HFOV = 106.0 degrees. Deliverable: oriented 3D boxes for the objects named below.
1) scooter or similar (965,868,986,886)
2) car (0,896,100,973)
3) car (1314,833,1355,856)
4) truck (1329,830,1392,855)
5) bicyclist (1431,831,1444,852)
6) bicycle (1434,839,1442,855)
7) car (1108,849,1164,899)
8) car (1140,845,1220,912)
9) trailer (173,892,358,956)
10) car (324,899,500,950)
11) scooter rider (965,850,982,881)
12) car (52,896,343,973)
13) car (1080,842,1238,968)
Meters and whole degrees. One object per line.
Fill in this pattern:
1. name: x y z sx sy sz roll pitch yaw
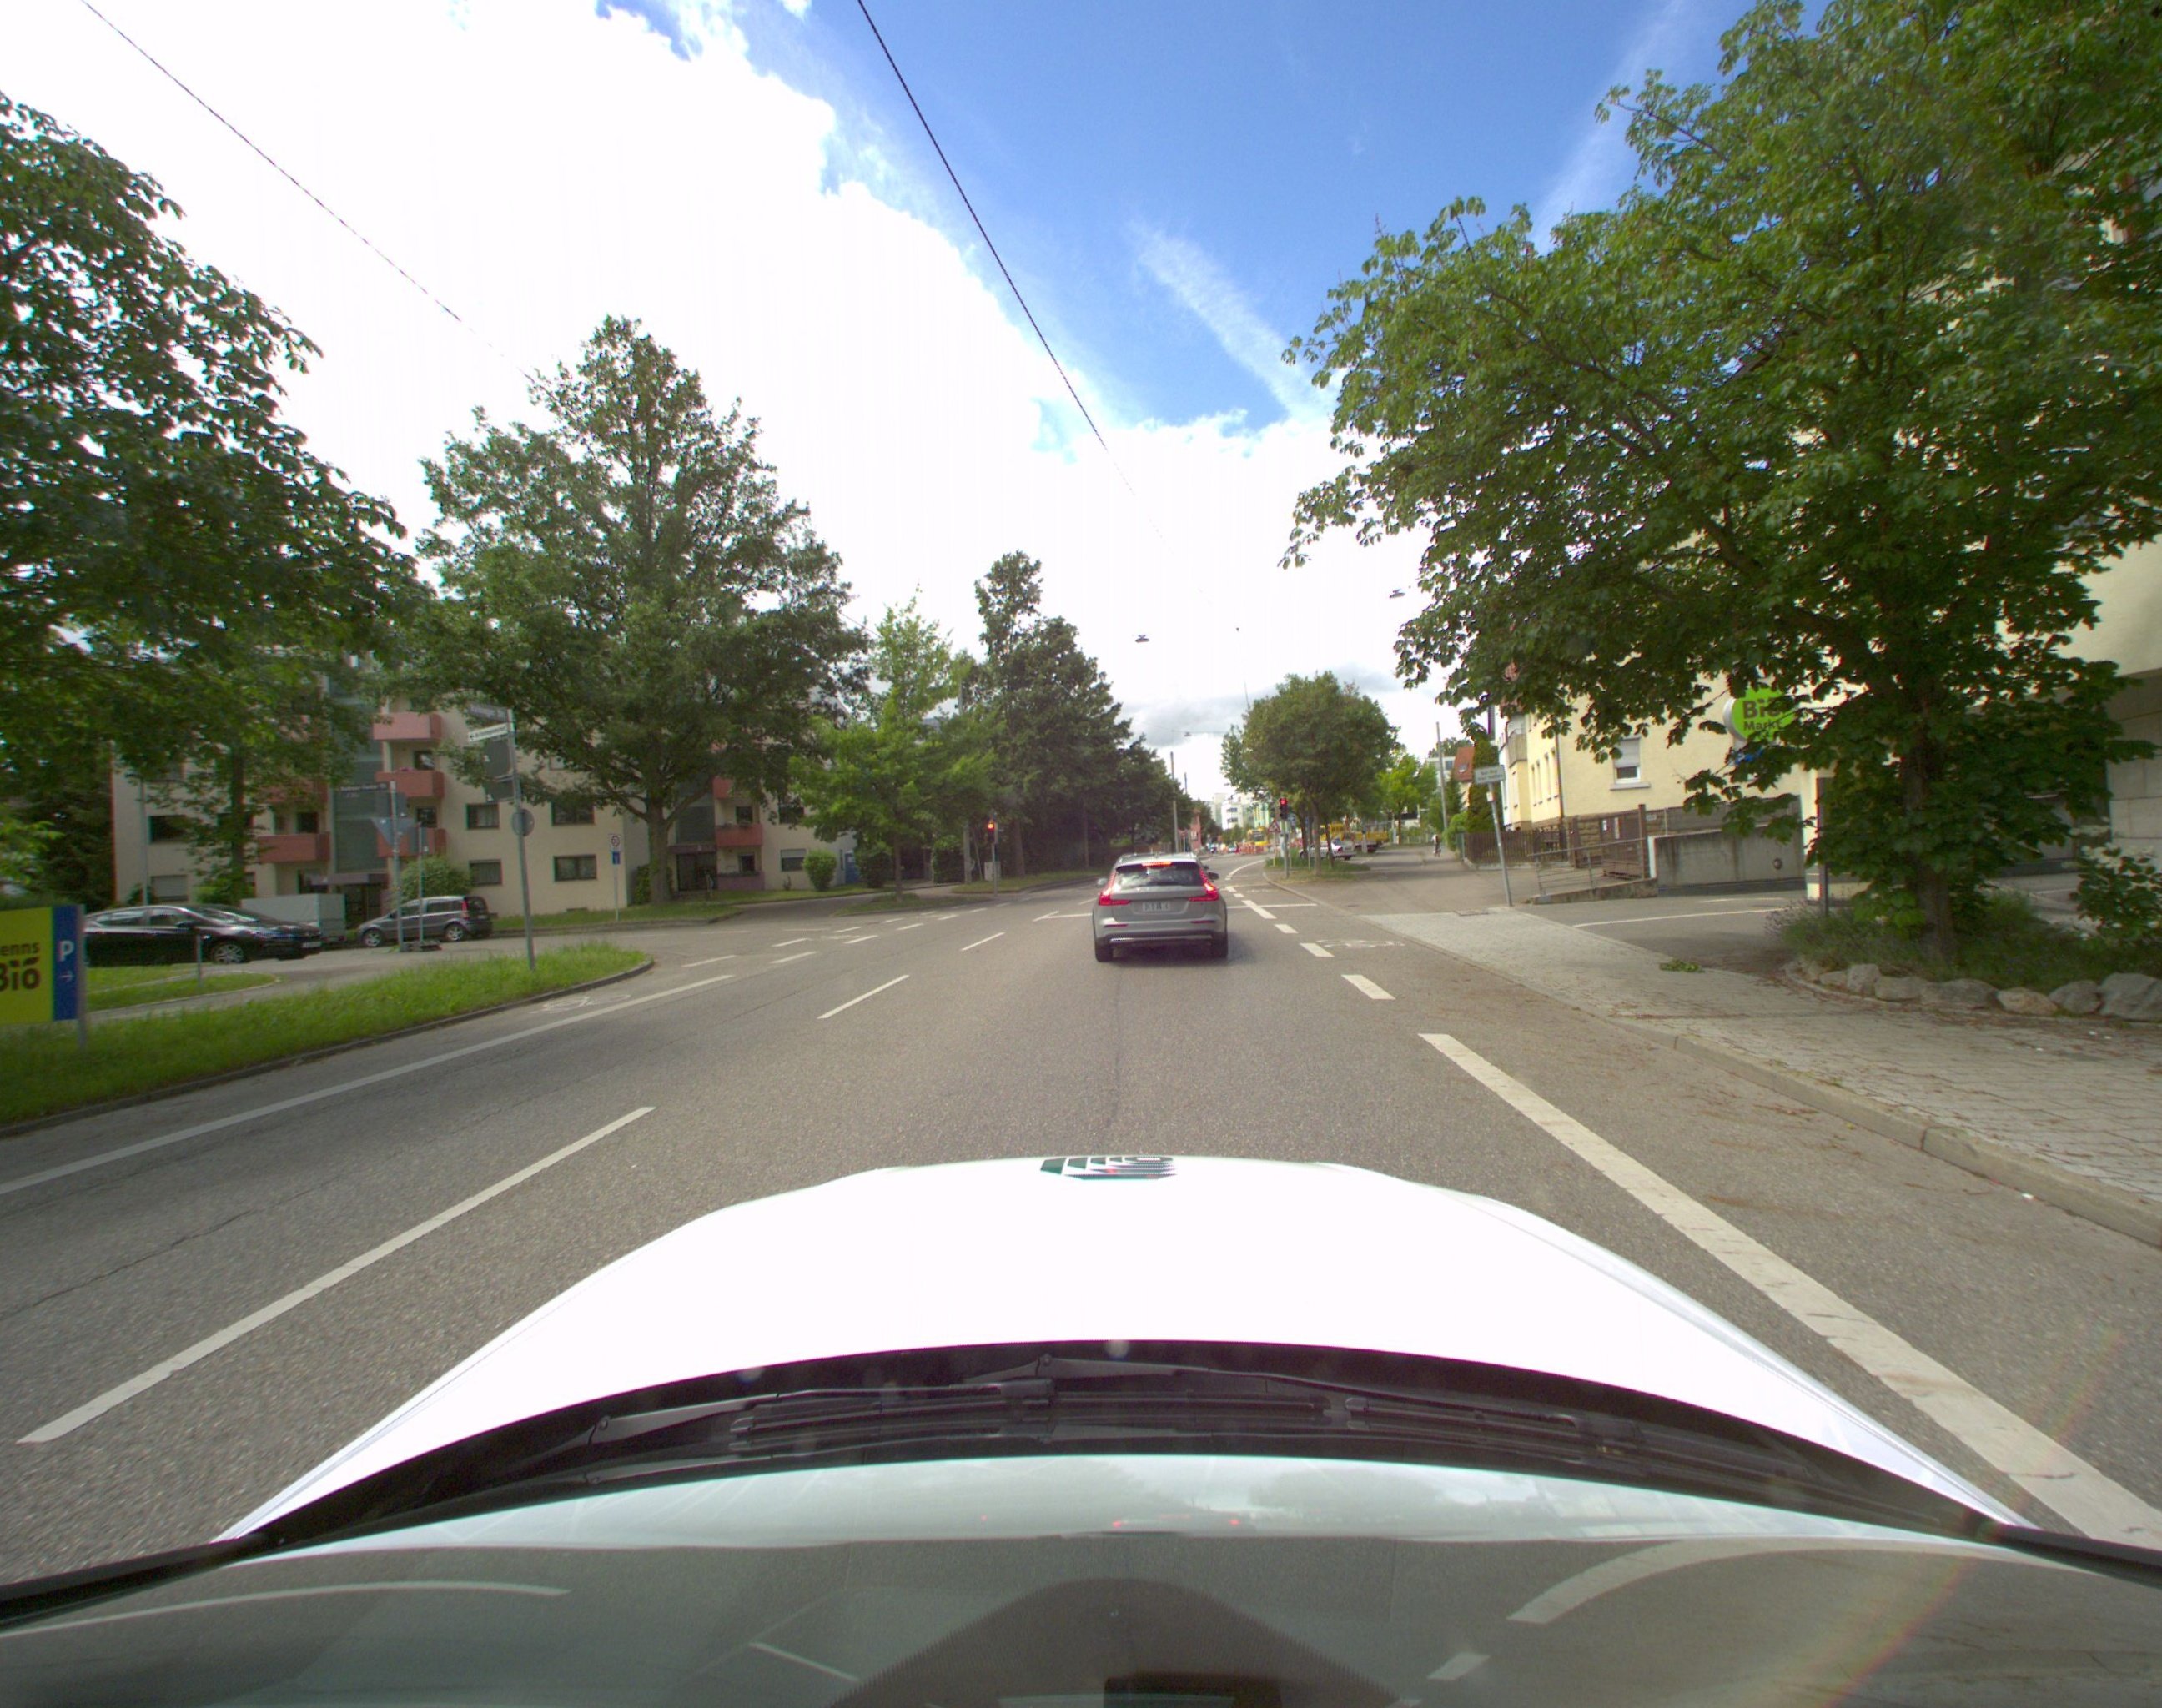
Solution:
1. scooter or similar: -6.064 1.317 46.779 0.959 0.962 0.683 -2 -1 -34
2. car: -24.370 1.817 17.351 4.172 1.523 1.896 -3 0 -7
3. car: 24.074 -0.889 77.273 3.783 2.014 1.724 -1 -2 -35
4. truck: 24.862 -1.015 72.316 5.633 2.014 2.068 -1 -1 -31
5. bicyclist: 23.867 -0.823 54.535 0.771 1.399 0.706 -3 -1 22
6. bicycle: 23.888 -0.463 54.488 0.457 1.035 2.778 -3 -1 23
7. car: 1.859 0.682 28.524 1.797 1.616 4.331 0 -1 2
8. car: 2.518 0.547 20.753 1.795 1.523 4.337 0 0 7
9. trailer: -25.952 2.207 26.047 3.906 1.799 1.625 -2 -4 -9
10. car: -21.678 2.285 26.549 4.074 1.400 1.790 -2 -4 -7
11. scooter rider: -6.180 0.678 46.734 0.710 1.727 0.673 -1 -2 -33
12. car: -19.252 1.743 17.945 4.074 1.400 1.790 -2 -4 -7
13. car: 1.304 0.648 12.731 1.945 1.523 4.339 -4 0 8
